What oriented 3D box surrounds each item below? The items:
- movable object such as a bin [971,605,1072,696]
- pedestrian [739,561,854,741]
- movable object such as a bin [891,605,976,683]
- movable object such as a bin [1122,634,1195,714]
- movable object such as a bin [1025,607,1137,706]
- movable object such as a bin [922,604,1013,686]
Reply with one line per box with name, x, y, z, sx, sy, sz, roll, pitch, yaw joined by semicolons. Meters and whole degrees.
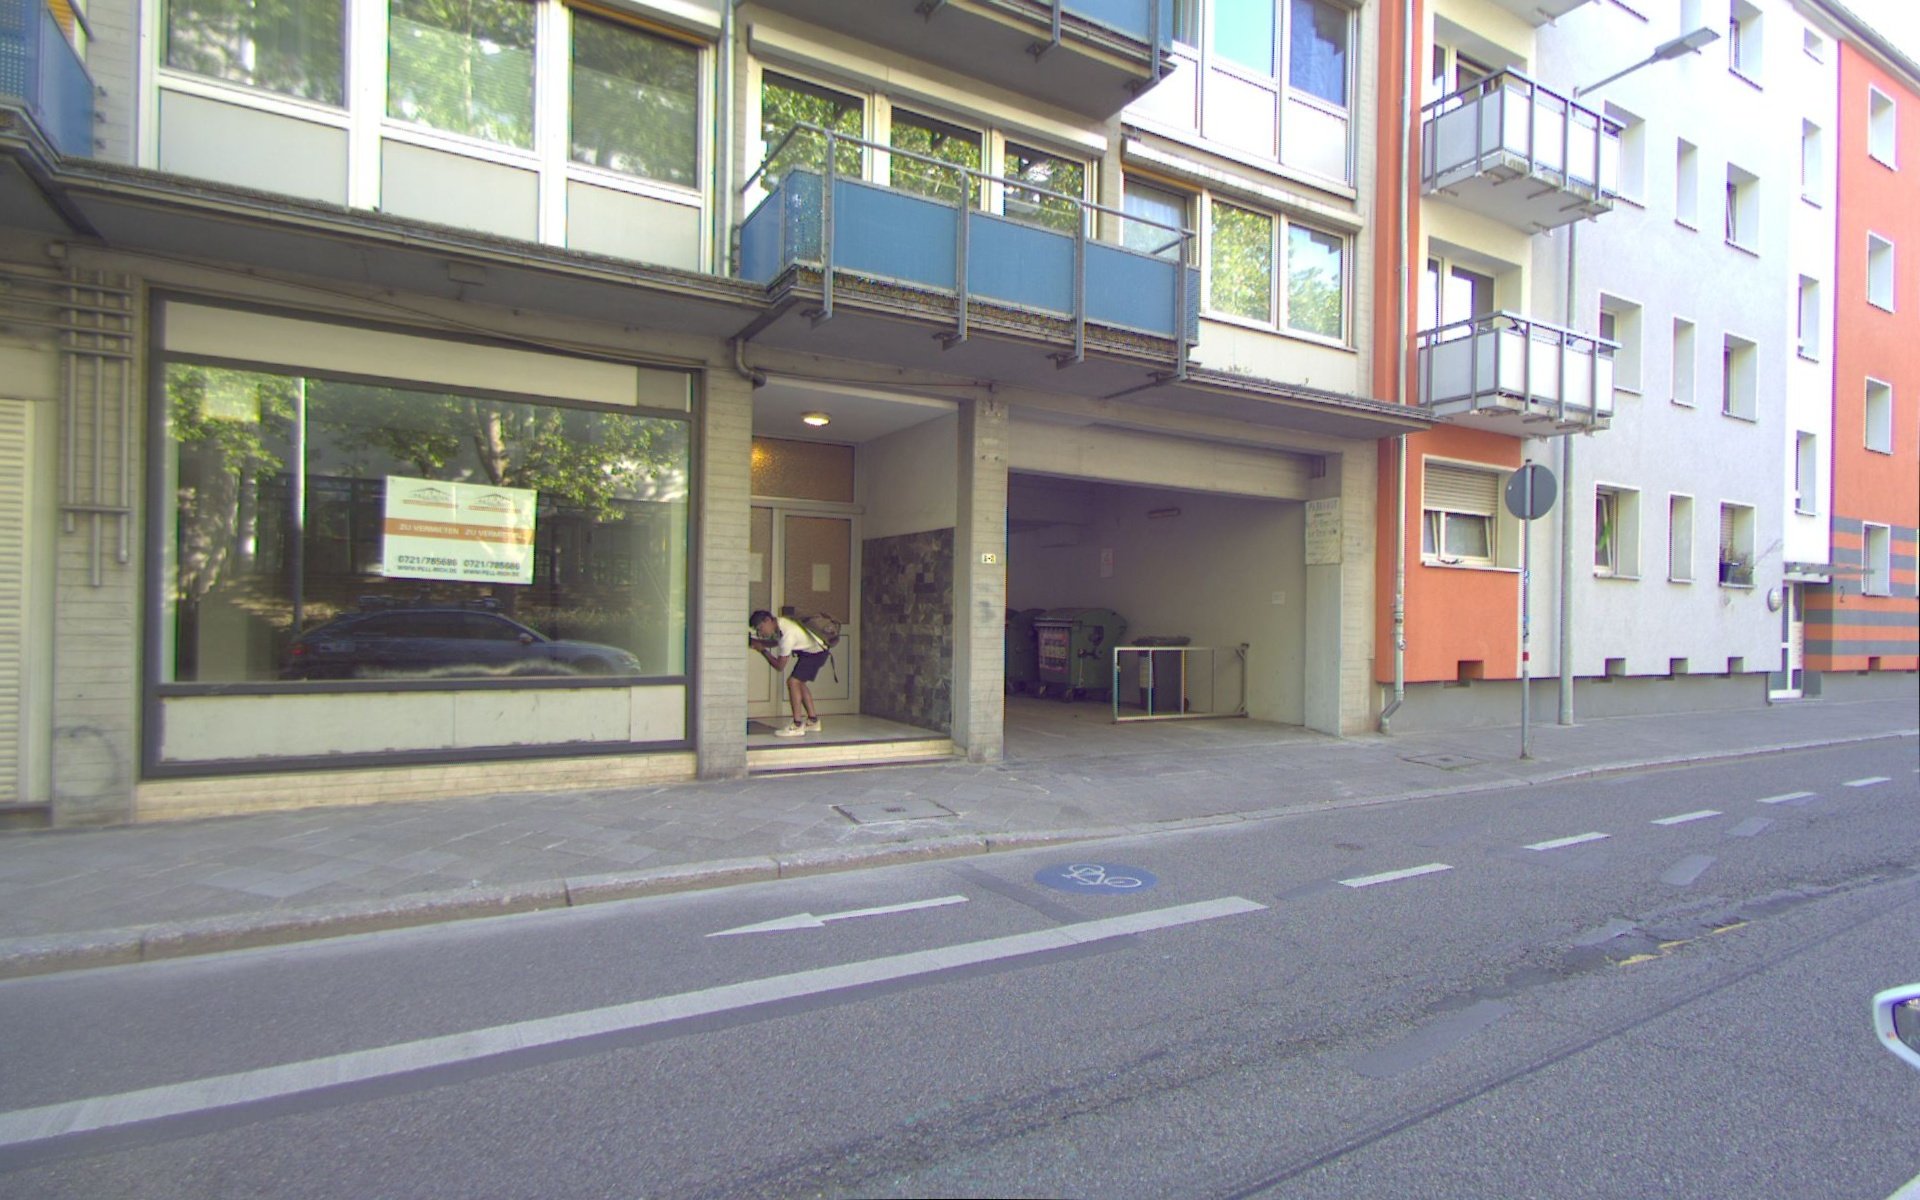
movable object such as a bin;1.047;0.845;17.201;1.182;1.452;1.300;2;0;-30
pedestrian;-1.533;0.462;9.412;0.914;1.606;0.561;1;0;-29
movable object such as a bin;-0.534;0.855;19.940;1.182;1.452;1.300;2;0;-30
movable object such as a bin;2.864;1.058;14.532;0.707;1.089;0.735;2;0;-30
movable object such as a bin;1.887;0.864;15.814;1.182;1.452;1.300;2;0;-30
movable object such as a bin;0.134;0.825;18.776;1.182;1.452;1.300;2;0;-30
